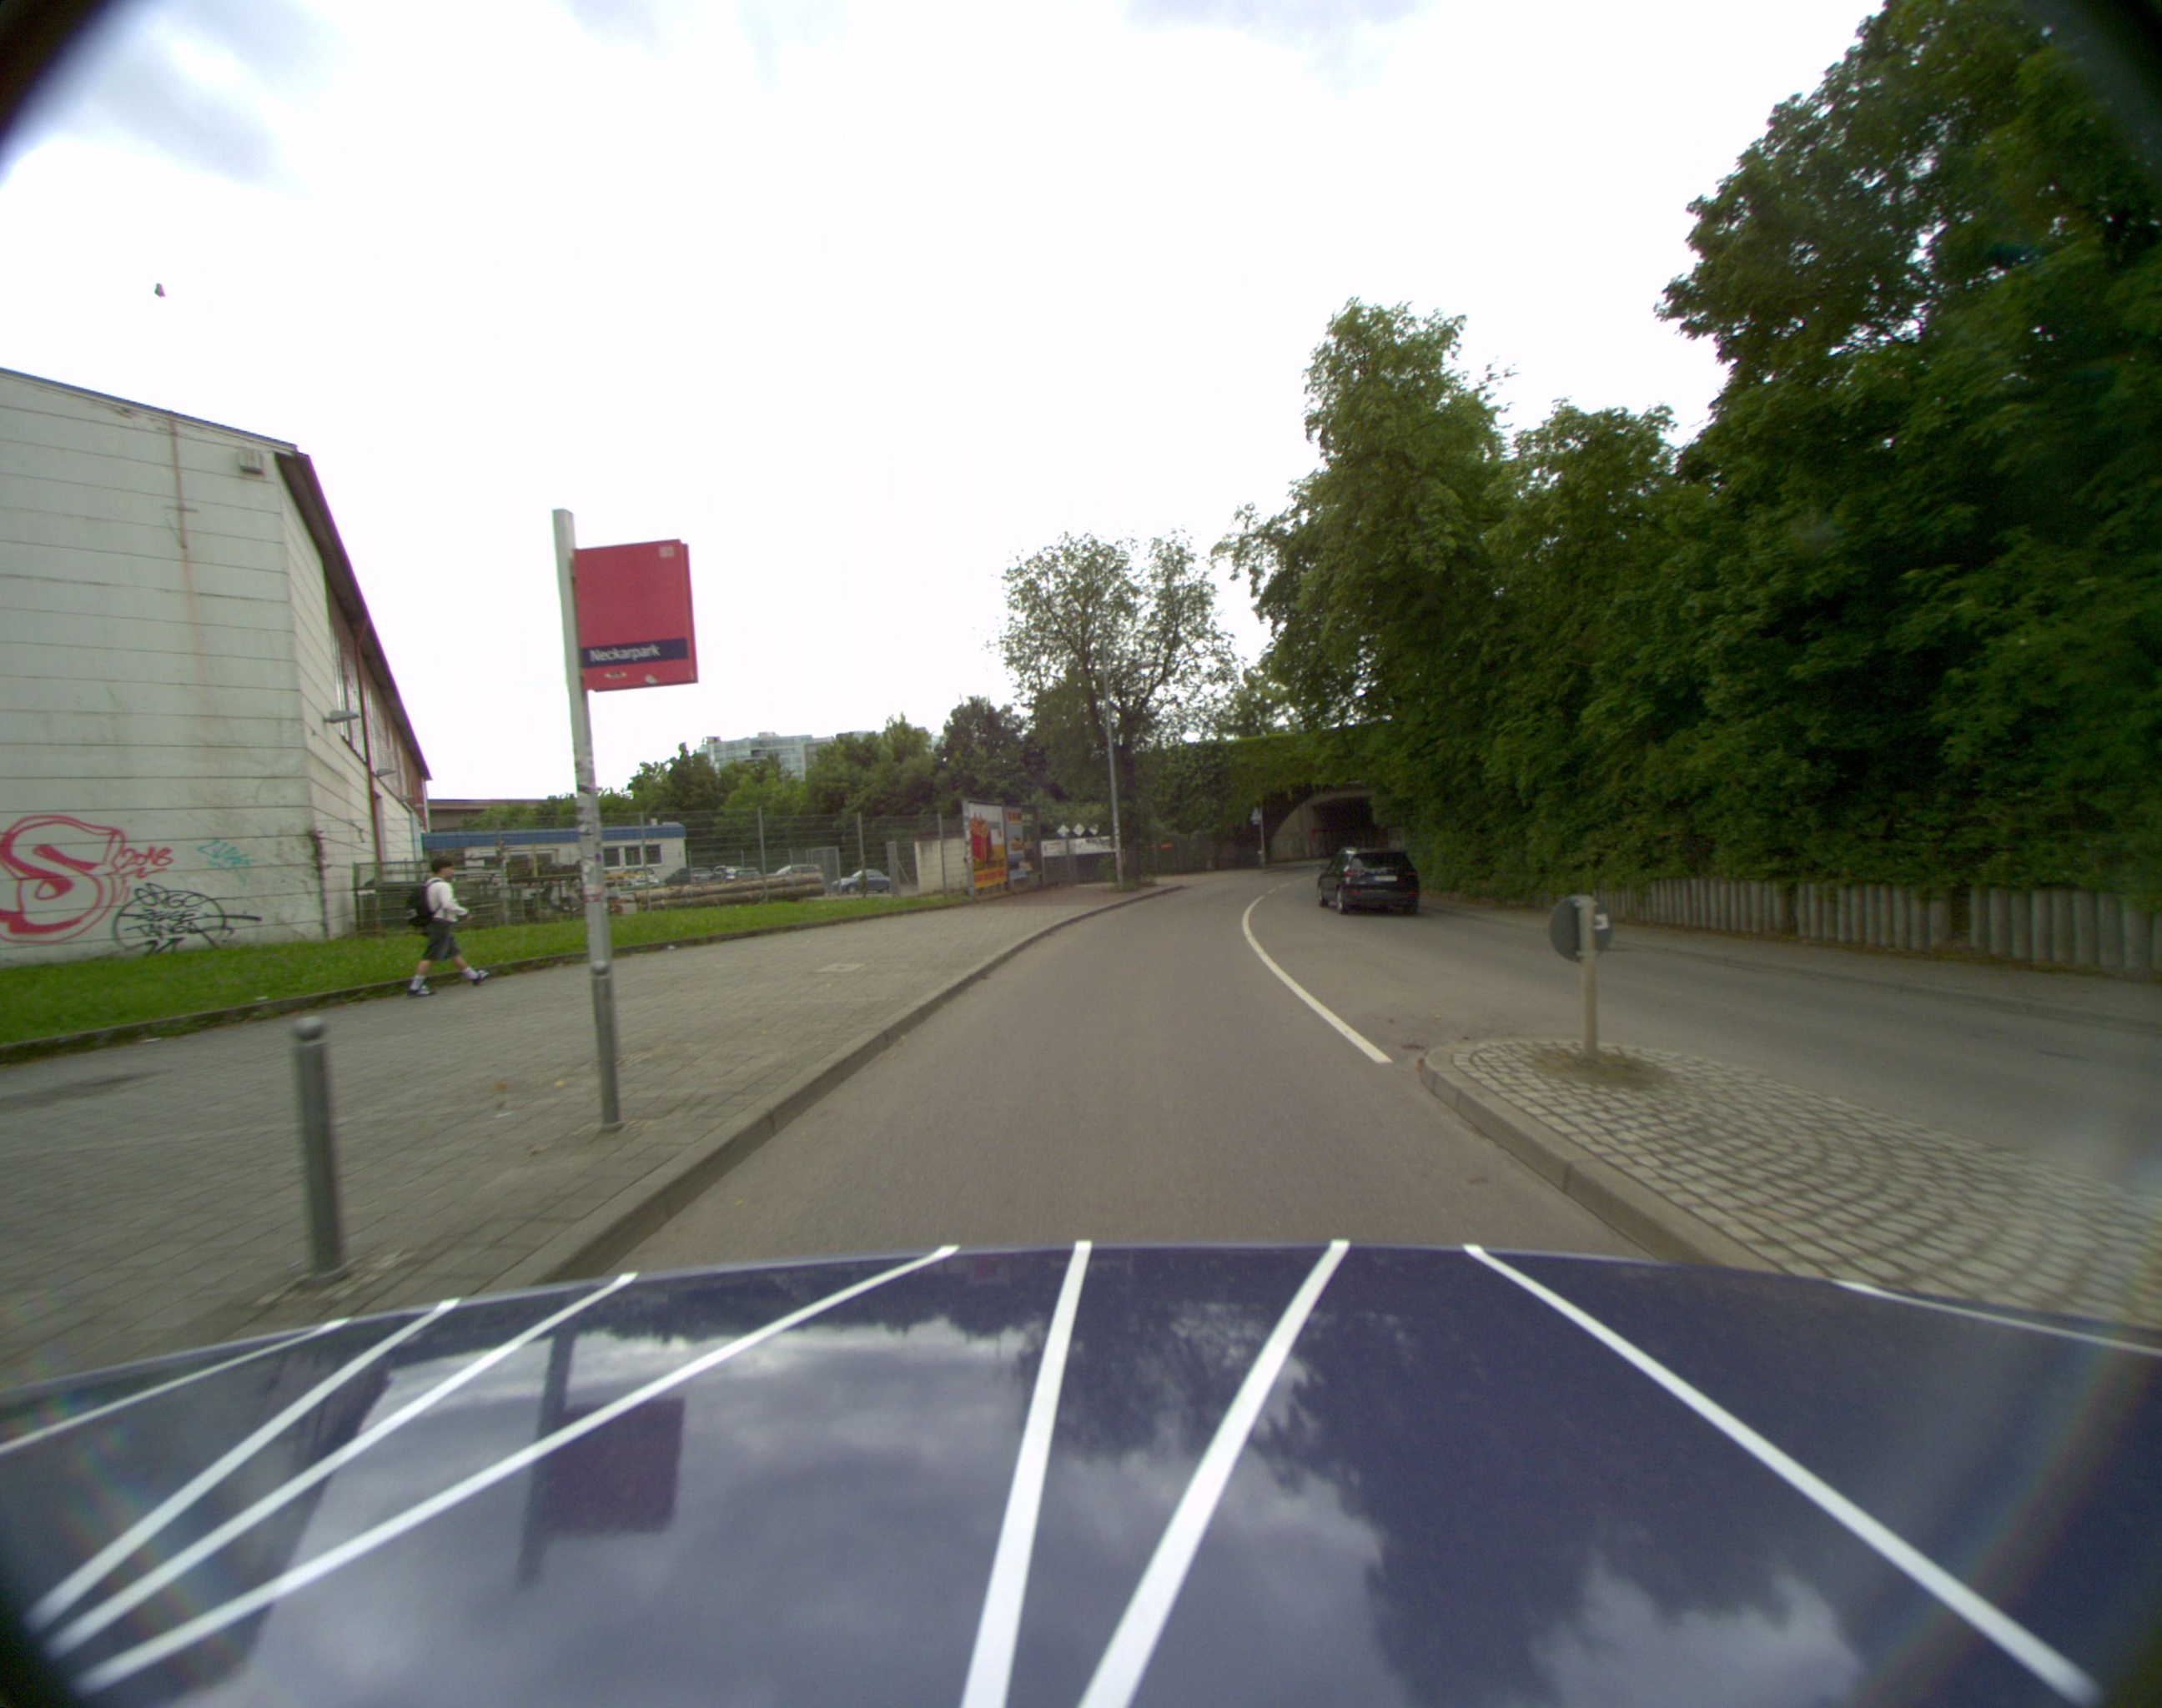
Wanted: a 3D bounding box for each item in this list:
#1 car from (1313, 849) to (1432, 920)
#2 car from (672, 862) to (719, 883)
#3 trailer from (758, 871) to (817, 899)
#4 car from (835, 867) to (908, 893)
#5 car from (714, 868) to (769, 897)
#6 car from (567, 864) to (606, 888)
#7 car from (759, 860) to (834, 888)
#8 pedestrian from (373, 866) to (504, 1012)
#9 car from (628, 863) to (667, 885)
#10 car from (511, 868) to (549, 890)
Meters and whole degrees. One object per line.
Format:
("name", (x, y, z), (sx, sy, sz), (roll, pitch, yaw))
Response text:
("car", (7.240, 0.679, 19.324), (1.806, 1.600, 4.178), (0, 0, 6))
("car", (-25.572, 1.229, 50.336), (3.673, 1.324, 1.533), (-2, 0, 42))
("trailer", (-13.972, 1.461, 36.101), (1.852, 1.131, 2.632), (-3, 1, -39))
("car", (-10.949, 1.347, 39.830), (3.377, 1.245, 1.467), (0, 0, -43))
("car", (-18.293, 1.503, 40.860), (1.810, 1.369, 3.788), (-4, 1, -38))
("car", (-30.364, 1.350, 46.595), (1.340, 1.324, 3.302), (-2, 0, -44))
("car", (-16.765, 1.173, 44.806), (3.819, 1.523, 1.561), (-1, 1, -43))
("pedestrian", (-8.099, 1.025, 9.603), (0.848, 1.675, 0.941), (-1, 3, 33))
("car", (-27.592, 1.254, 48.339), (1.340, 1.324, 3.302), (-2, 0, -44))
("car", (-32.873, 1.492, 45.302), (1.340, 1.201, 3.302), (-2, 0, -44))
